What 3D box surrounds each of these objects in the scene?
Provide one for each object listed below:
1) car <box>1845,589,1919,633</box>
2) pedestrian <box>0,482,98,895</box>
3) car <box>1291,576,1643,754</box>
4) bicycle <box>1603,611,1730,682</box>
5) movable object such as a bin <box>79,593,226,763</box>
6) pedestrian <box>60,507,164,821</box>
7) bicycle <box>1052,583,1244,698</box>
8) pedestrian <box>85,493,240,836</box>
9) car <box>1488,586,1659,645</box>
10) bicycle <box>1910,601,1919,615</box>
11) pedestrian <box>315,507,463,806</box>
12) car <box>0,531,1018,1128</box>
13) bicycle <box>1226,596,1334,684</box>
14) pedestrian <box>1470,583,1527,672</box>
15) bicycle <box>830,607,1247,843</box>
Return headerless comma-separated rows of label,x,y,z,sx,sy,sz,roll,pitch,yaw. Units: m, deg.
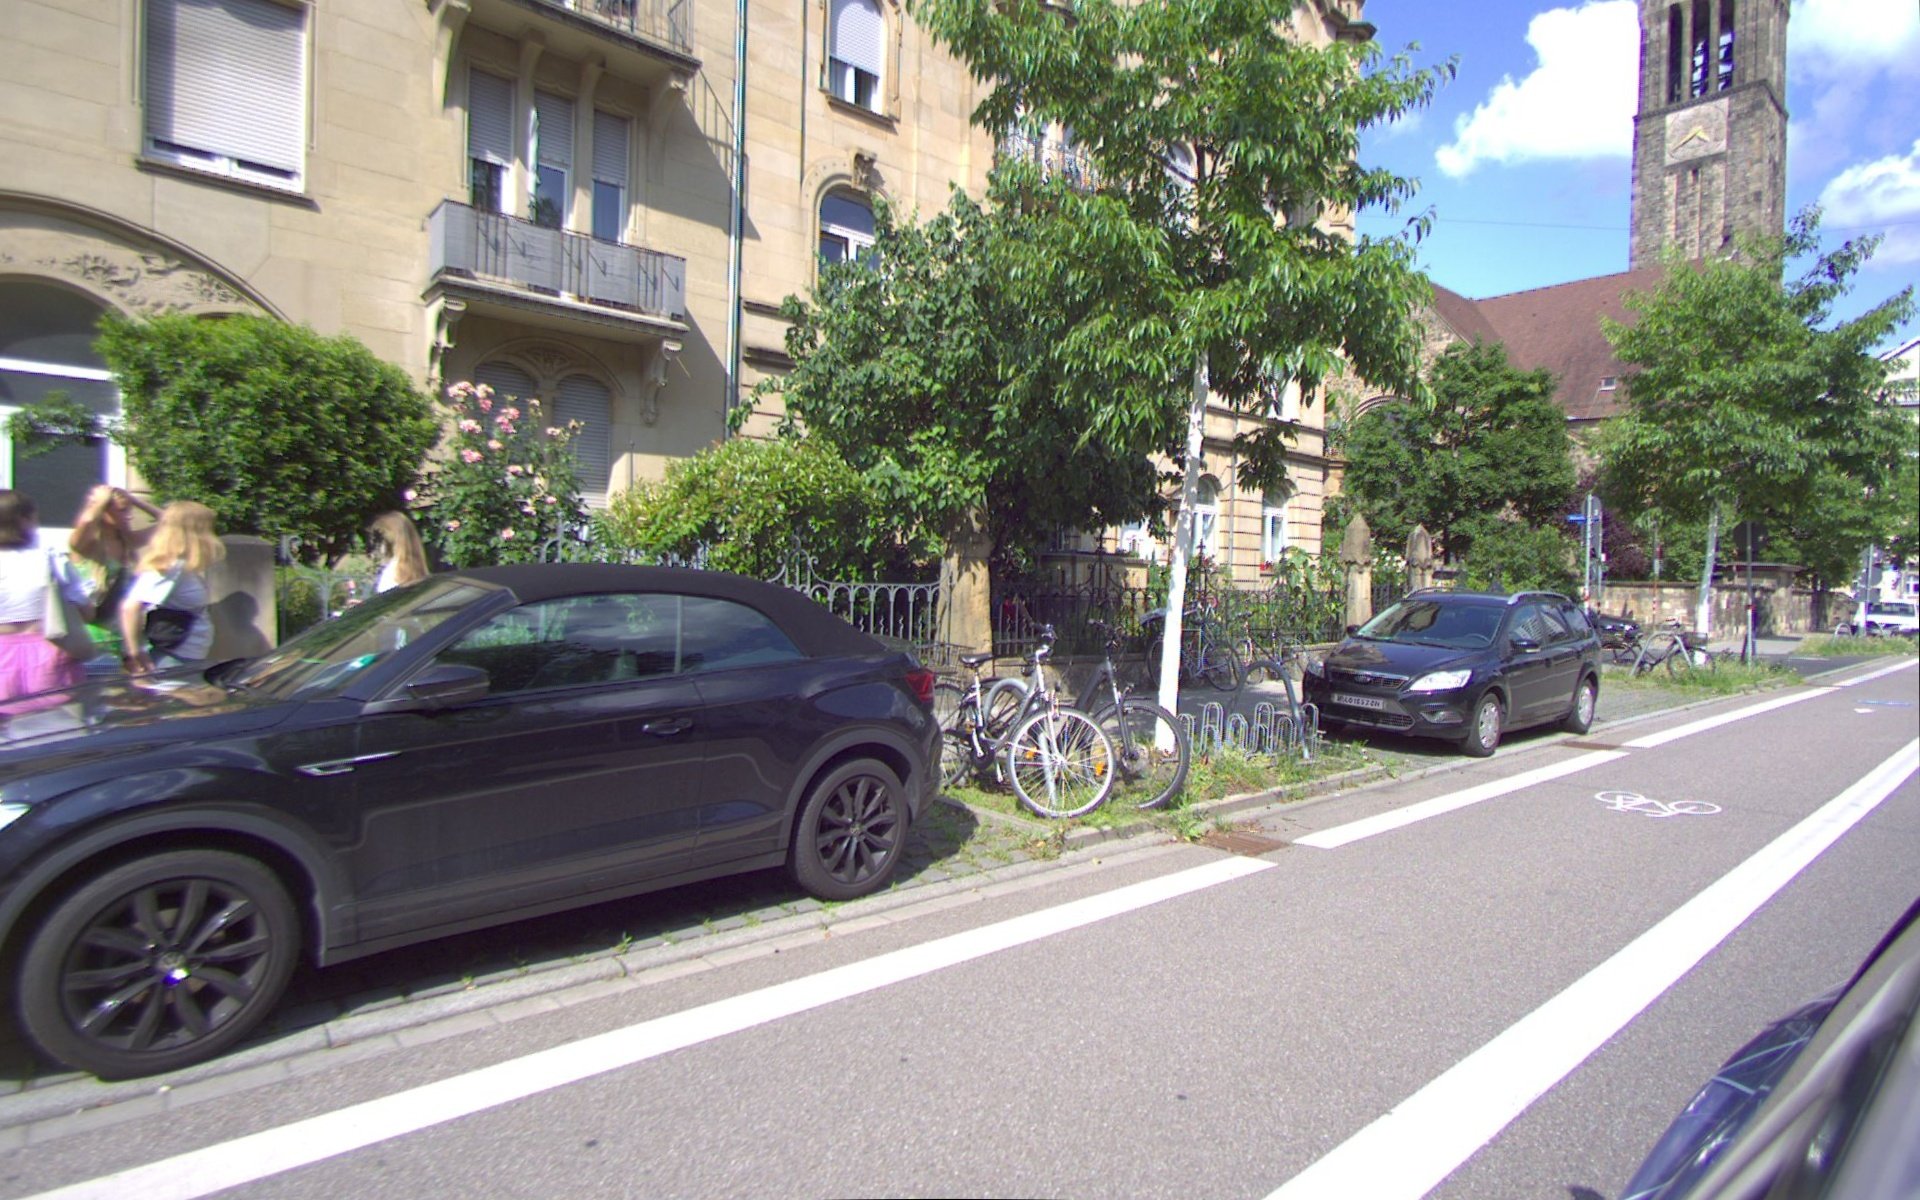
car,32.070,0.397,34.662,3.768,1.434,1.674,1,-1,-32
pedestrian,-4.058,0.364,4.348,0.451,1.727,0.320,2,2,-27
car,5.577,0.548,10.835,4.624,1.521,1.689,0,1,-40
bicycle,11.938,0.766,17.140,1.706,1.083,0.464,2,1,44
movable object such as a bin,-5.606,0.507,7.040,0.761,1.070,0.609,0,3,-40
pedestrian,-4.868,0.342,5.815,0.423,1.727,0.385,1,3,-41
bicycle,2.423,0.459,12.697,2.891,1.263,0.659,0,4,-41
pedestrian,-4.281,0.311,5.438,0.499,1.727,0.491,4,3,31
car,19.046,0.416,31.553,1.727,1.574,4.259,-3,3,-42
bicycle,80.544,0.681,84.851,0.602,1.031,1.865,1,3,21
pedestrian,-3.458,0.307,6.138,0.526,1.696,0.568,4,3,31
car,-1.915,0.561,4.453,4.415,1.545,1.800,0,3,-44
bicycle,4.600,0.542,14.466,1.988,1.153,0.428,0,4,-41
pedestrian,10.302,0.516,19.369,0.712,1.649,0.724,0,1,-40
bicycle,0.427,0.727,7.040,2.940,1.262,0.782,2,1,38
